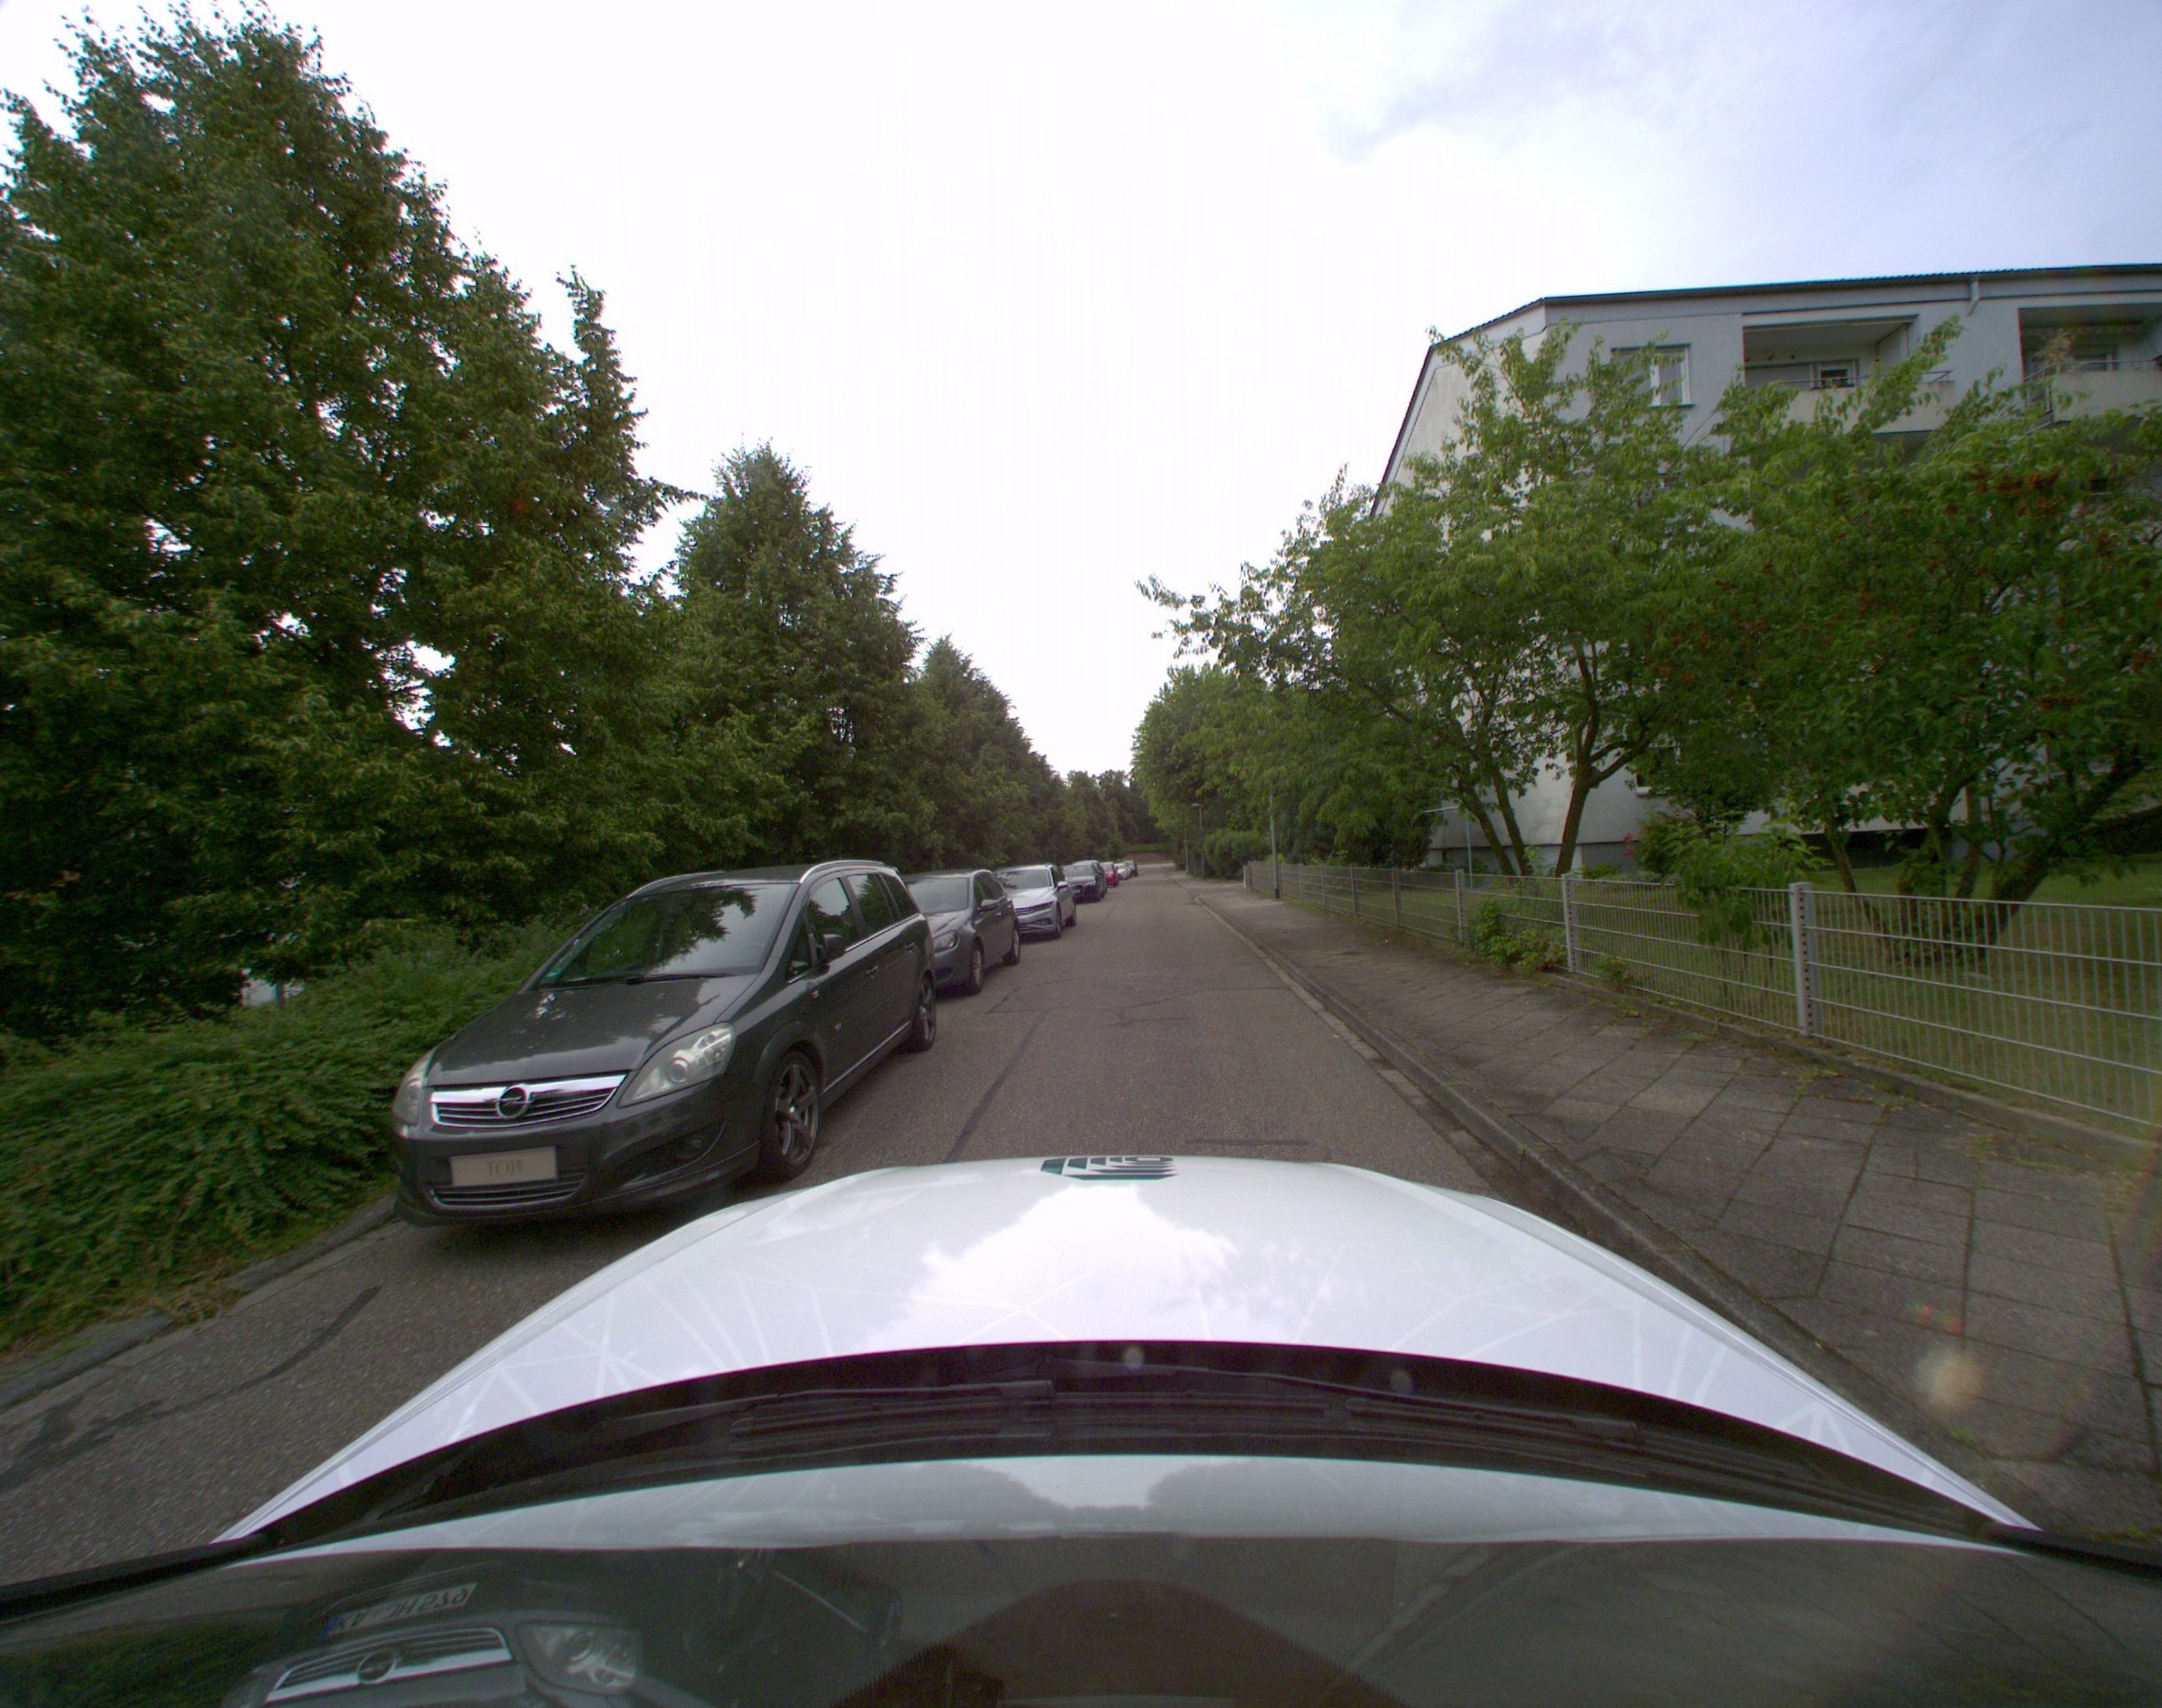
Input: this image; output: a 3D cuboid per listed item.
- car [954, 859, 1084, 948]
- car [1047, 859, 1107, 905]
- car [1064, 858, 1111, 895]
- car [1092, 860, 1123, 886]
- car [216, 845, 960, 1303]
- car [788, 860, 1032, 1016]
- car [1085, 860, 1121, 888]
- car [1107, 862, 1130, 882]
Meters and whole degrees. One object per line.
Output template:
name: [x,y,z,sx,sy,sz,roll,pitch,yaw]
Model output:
car: [-1.129,0.916,17.033,1.767,1.428,4.486,-5,-1,6]
car: [-0.082,1.000,30.358,1.743,1.425,4.006,-5,-1,5]
car: [0.355,0.982,37.288,1.743,1.425,4.006,-5,-1,5]
car: [1.839,1.282,55.591,1.743,1.519,4.006,-5,-1,5]
car: [-2.226,0.844,5.347,1.750,1.593,4.557,-5,0,4]
car: [-1.952,0.911,10.759,1.748,1.478,4.313,-5,0,6]
car: [1.359,1.193,48.945,1.743,1.425,4.006,-5,-1,5]
car: [3.305,1.524,71.191,1.743,1.519,4.006,-5,-1,5]
